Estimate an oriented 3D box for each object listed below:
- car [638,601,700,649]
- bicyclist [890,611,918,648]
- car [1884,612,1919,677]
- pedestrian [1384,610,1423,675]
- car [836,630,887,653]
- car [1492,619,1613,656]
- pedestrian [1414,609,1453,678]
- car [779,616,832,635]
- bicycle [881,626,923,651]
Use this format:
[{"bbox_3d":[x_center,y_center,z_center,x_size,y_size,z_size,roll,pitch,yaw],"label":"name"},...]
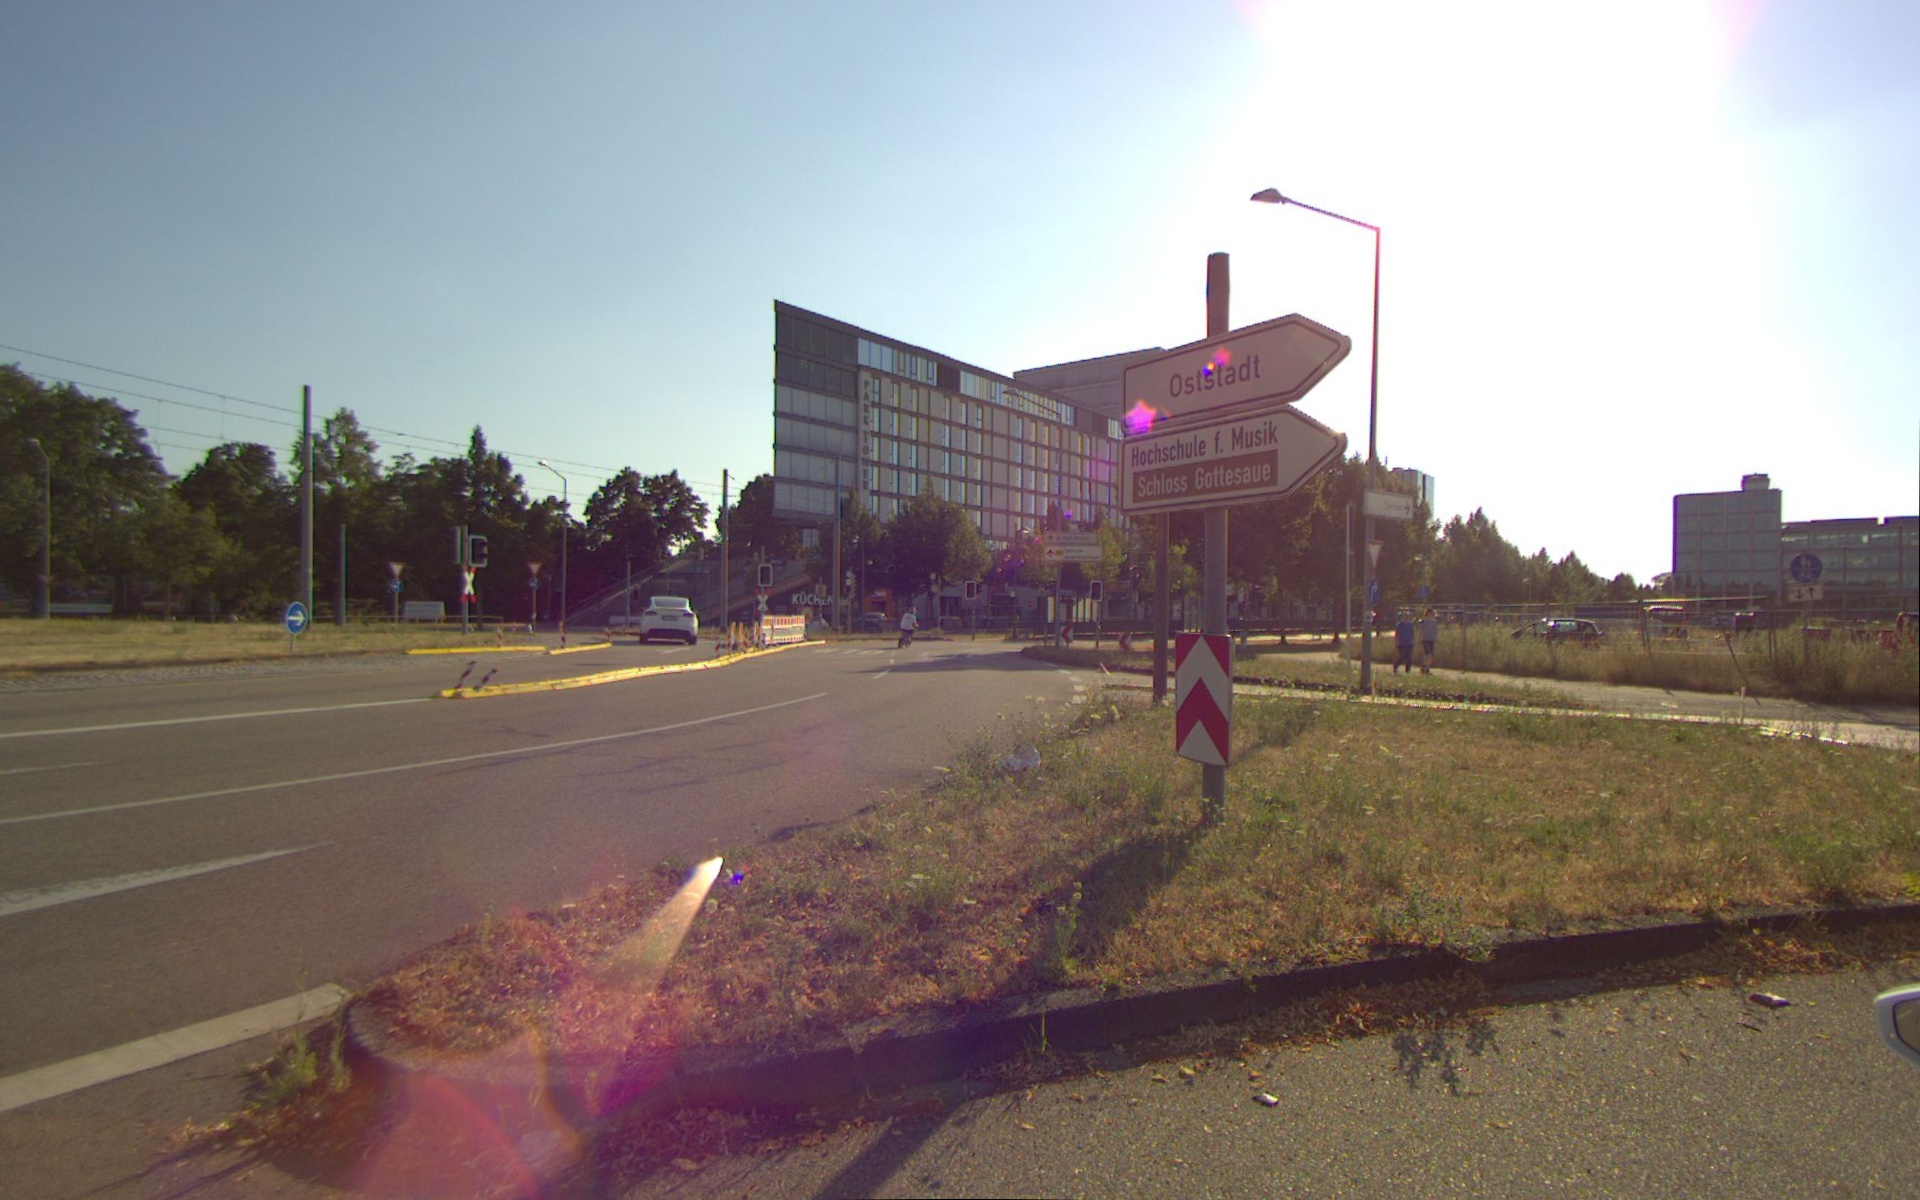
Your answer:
[{"bbox_3d":[-10.255,0.840,35.249,1.968,1.596,3.984,1,0,-18],"label":"car"},{"bbox_3d":[-2.210,1.156,39.372,0.855,1.429,0.627,2,0,33],"label":"bicyclist"},{"bbox_3d":[31.997,1.436,32.680,5.264,2.040,1.979,1,-1,-37],"label":"car"},{"bbox_3d":[12.011,1.140,27.236,0.770,1.731,0.813,1,0,10],"label":"pedestrian"},{"bbox_3d":[-6.914,2.910,70.880,3.312,1.595,1.545,1,-1,-41],"label":"car"},{"bbox_3d":[24.065,1.506,40.972,4.168,1.381,1.997,0,-1,29],"label":"car"},{"bbox_3d":[12.770,1.161,27.125,0.744,1.799,0.772,1,0,9],"label":"pedestrian"},{"bbox_3d":[-11.021,1.822,71.702,1.635,1.256,3.485,0,-1,41],"label":"car"},{"bbox_3d":[-2.247,1.487,39.208,0.836,0.941,1.715,1,0,31],"label":"bicycle"}]
